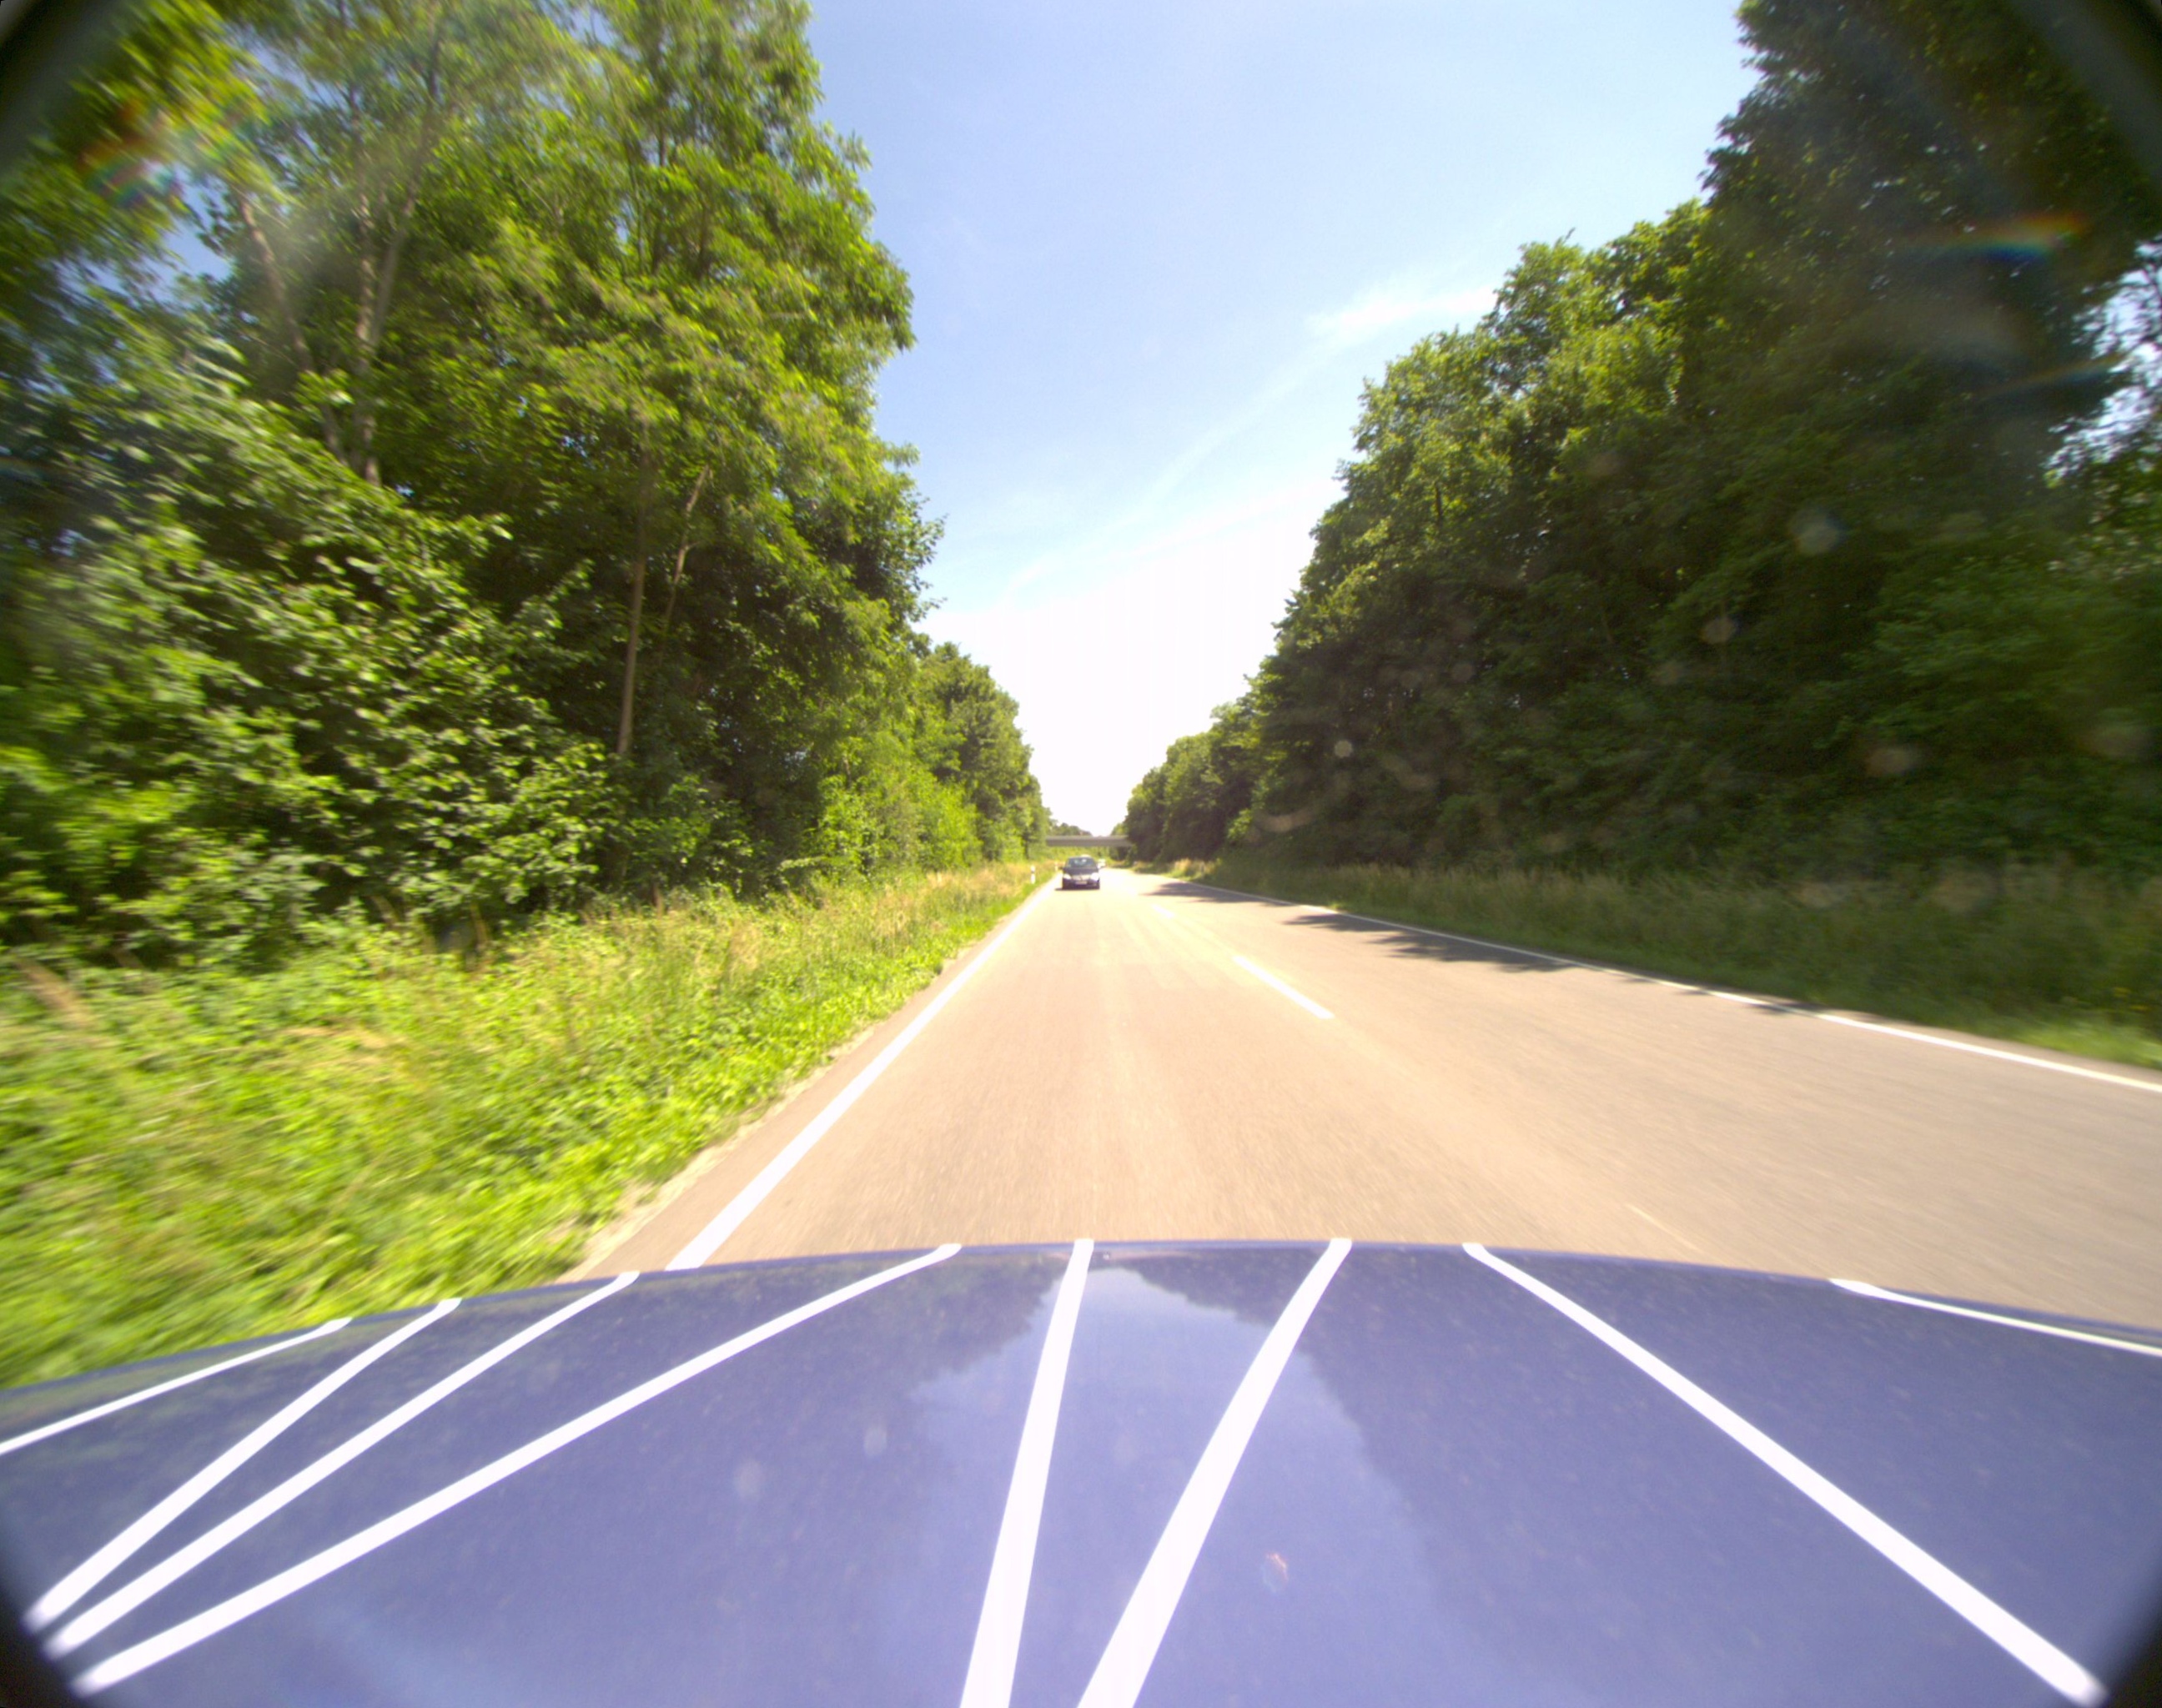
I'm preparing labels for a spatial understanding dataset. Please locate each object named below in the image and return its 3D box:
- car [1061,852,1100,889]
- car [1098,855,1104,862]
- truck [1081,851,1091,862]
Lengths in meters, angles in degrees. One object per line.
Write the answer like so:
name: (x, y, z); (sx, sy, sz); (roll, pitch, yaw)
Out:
car: (0.003, 0.794, 37.103); (1.784, 1.676, 4.779); (0, -1, 0)
car: (4.665, 0.962, 177.415); (1.516, 1.583, 3.793); (0, 0, 0)
truck: (1.489, 0.657, 237.672); (2.577, 3.111, 11.197); (-3, 0, -1)
